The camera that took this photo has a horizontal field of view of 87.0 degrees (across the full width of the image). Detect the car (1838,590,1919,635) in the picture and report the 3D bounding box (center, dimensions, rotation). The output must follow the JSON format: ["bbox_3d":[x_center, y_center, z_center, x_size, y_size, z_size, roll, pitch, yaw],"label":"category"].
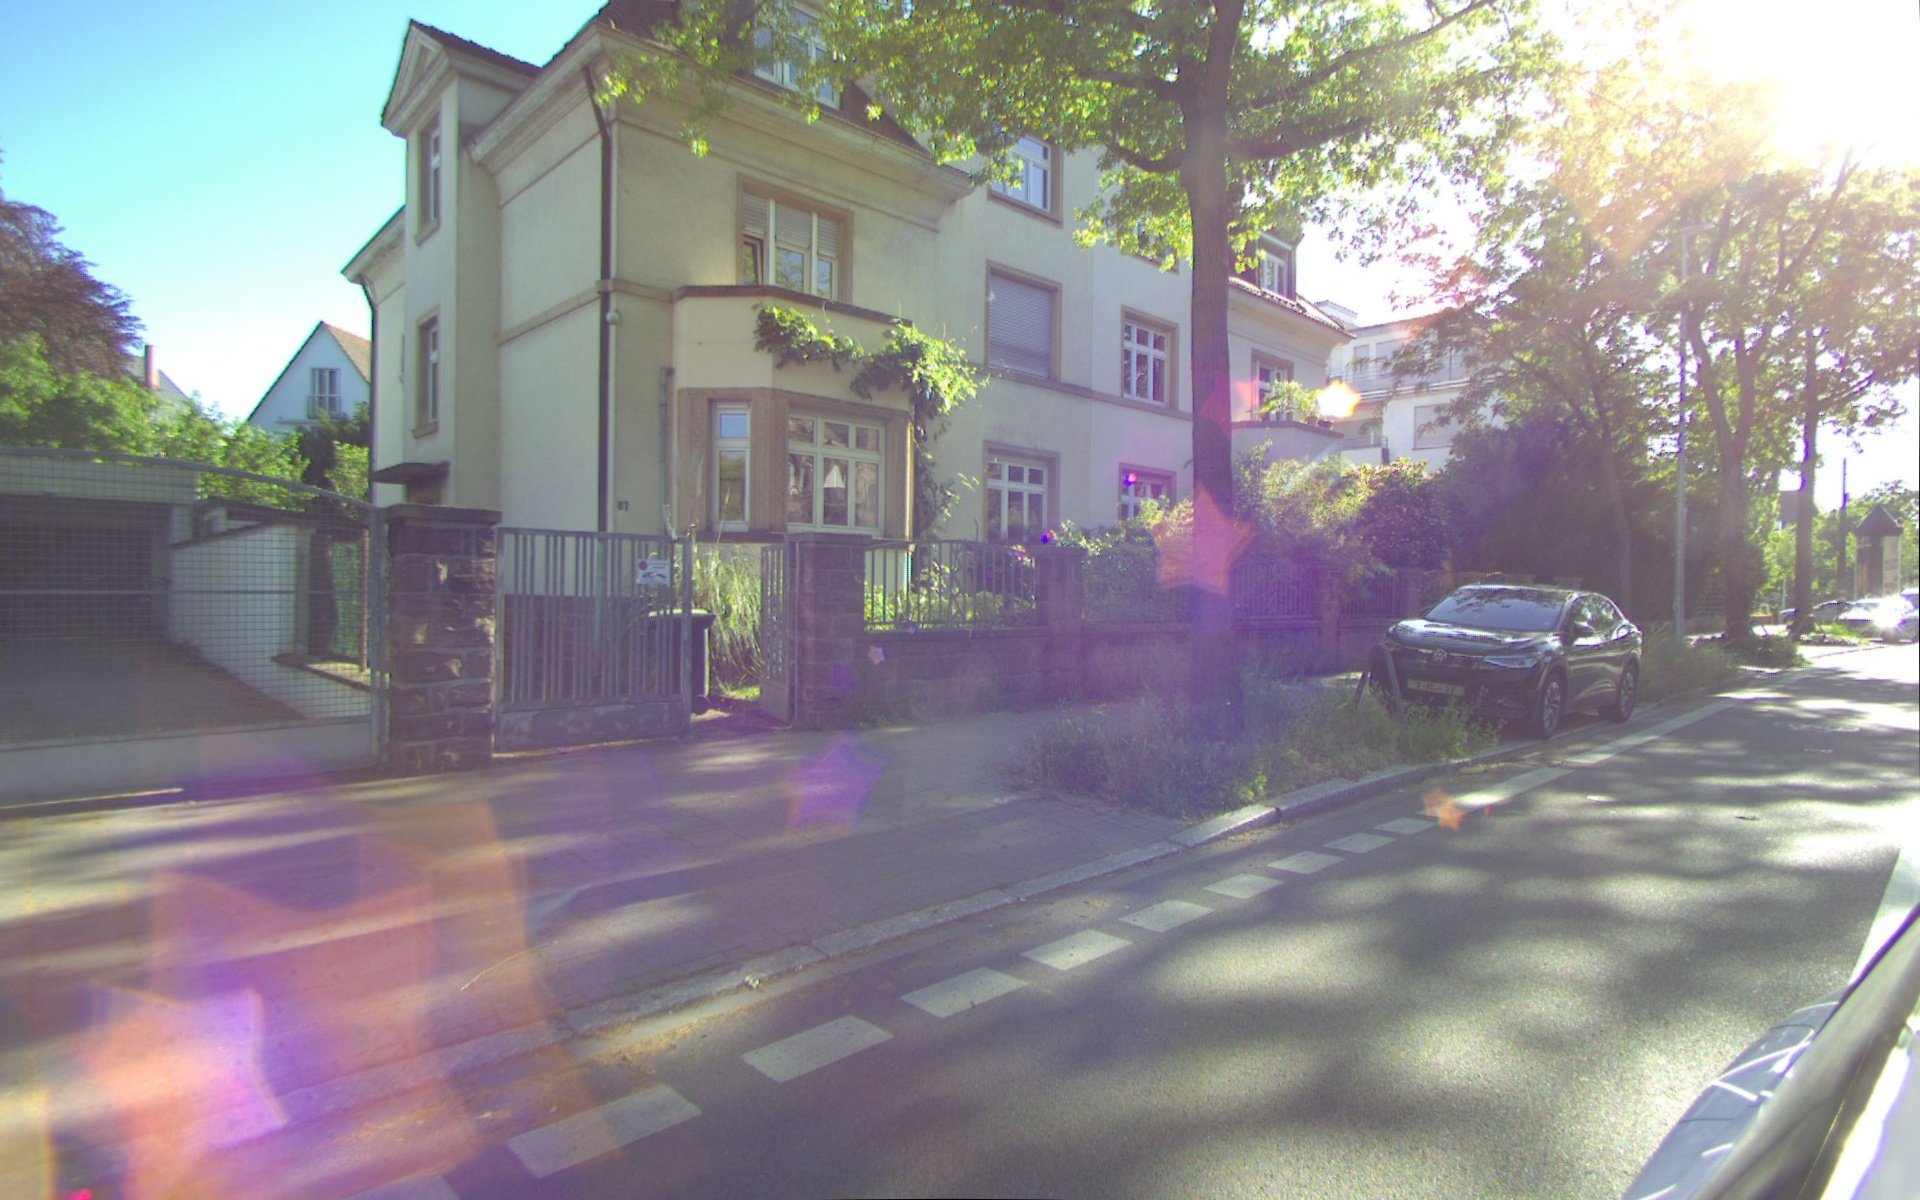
[{"bbox_3d":[31.514,0.381,34.273,4.181,1.427,1.901,0,1,-38],"label":"car"}]

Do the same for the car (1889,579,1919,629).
[{"bbox_3d":[36.674,0.128,37.855,4.580,1.808,1.903,0,1,-35],"label":"car"}]

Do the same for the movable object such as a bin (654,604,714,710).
[{"bbox_3d":[-2.921,0.583,10.671,0.551,1.062,0.676,0,0,-20],"label":"movable object such as a bin"}]

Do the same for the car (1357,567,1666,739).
[{"bbox_3d":[6.711,0.495,12.136,4.186,1.619,1.917,0,4,-42],"label":"car"}]

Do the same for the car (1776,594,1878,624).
[{"bbox_3d":[46.068,0.457,53.839,1.784,1.459,3.990,0,1,-44],"label":"car"}]
